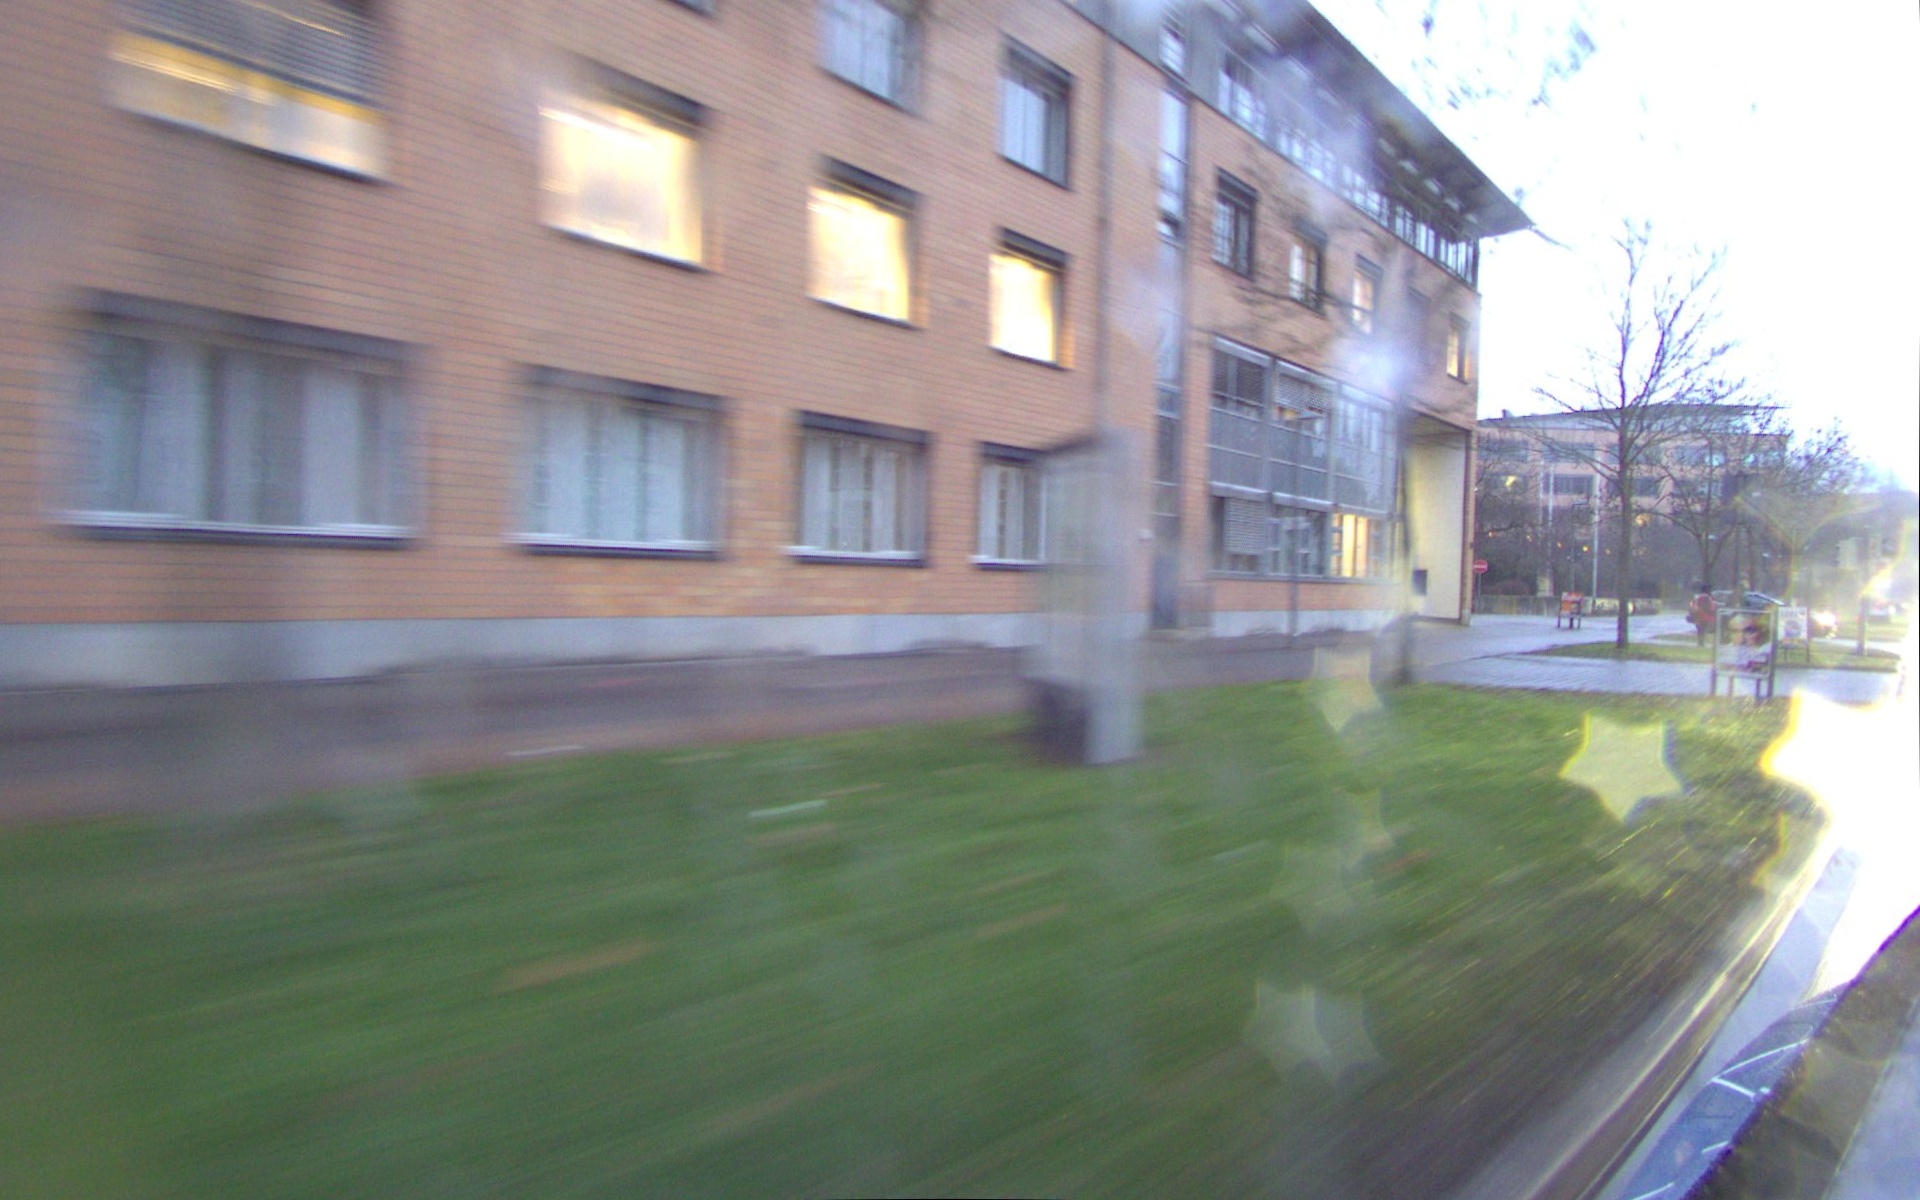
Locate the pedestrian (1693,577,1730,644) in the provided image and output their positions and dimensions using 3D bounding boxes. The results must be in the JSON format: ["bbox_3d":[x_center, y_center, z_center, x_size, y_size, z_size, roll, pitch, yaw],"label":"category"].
[{"bbox_3d":[20.089,0.264,27.055,0.498,1.763,0.655,2,1,12],"label":"pedestrian"}]

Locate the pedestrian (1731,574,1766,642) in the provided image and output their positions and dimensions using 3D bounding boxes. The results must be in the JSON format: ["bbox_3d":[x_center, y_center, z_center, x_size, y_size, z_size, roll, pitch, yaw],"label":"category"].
[{"bbox_3d":[22.045,0.217,28.304,0.499,1.847,0.654,2,1,19],"label":"pedestrian"}]

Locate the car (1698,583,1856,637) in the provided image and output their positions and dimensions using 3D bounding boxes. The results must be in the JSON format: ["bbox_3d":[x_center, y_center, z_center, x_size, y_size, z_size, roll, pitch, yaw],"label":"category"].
[{"bbox_3d":[28.091,0.293,34.885,1.713,1.574,3.992,0,3,-44],"label":"car"}]
